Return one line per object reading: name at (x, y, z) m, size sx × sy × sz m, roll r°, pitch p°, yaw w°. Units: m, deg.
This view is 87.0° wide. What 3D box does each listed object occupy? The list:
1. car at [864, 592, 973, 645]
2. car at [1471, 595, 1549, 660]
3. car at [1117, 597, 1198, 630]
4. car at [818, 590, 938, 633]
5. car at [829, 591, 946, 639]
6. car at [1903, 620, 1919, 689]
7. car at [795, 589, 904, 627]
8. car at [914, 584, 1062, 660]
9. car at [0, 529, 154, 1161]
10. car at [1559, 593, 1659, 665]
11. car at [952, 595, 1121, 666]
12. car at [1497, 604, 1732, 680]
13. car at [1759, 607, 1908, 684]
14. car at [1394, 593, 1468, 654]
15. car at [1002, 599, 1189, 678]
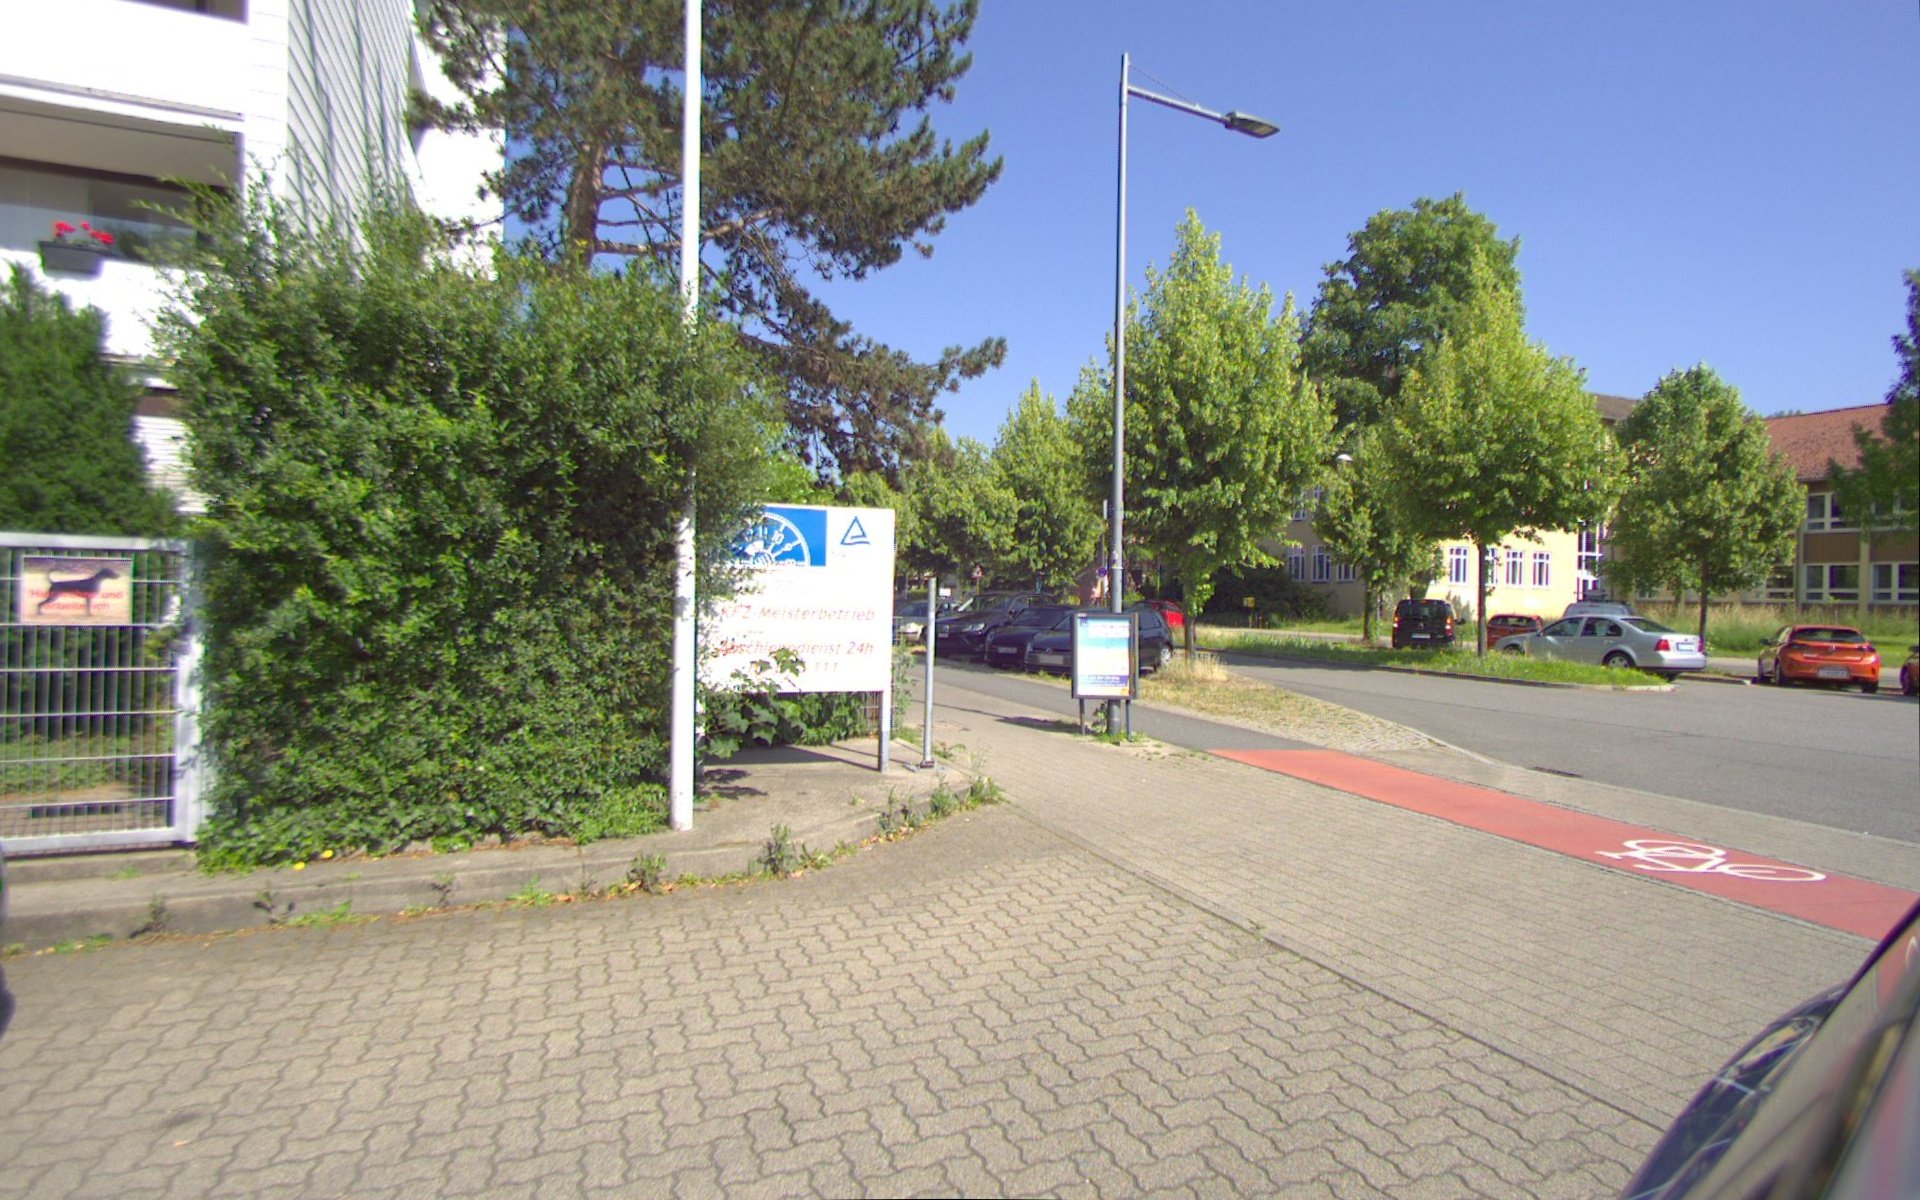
car at (-1.209, 0.531, 31.535) m, size 1.687 × 1.500 × 4.189 m, roll 1°, pitch 0°, yaw 25°
car at (16.564, 0.825, 30.529) m, size 1.865 × 1.744 × 4.182 m, roll 3°, pitch 0°, yaw 28°
car at (9.351, 0.643, 47.845) m, size 3.660 × 1.408 × 1.879 m, roll 3°, pitch 0°, yaw -41°
car at (-2.960, 0.411, 37.024) m, size 4.148 × 1.500 × 1.704 m, roll 1°, pitch 0°, yaw -38°
car at (-2.372, 0.466, 34.108) m, size 1.694 × 1.500 × 4.172 m, roll 1°, pitch 0°, yaw 35°
car at (20.838, 1.167, 20.485) m, size 1.728 × 1.478 × 4.177 m, roll 2°, pitch -1°, yaw 32°
car at (-4.577, 0.336, 41.971) m, size 4.139 × 1.500 × 1.707 m, roll 1°, pitch 0°, yaw -27°
car at (0.820, 0.553, 26.164) m, size 1.694 × 1.742 × 4.346 m, roll 2°, pitch 0°, yaw 35°
car at (-4.219, 0.653, 2.126) m, size 3.585 × 1.637 × 1.696 m, roll -1°, pitch 1°, yaw -20°
car at (17.888, 0.784, 27.823) m, size 1.872 × 1.744 × 4.166 m, roll 3°, pitch 0°, yaw 38°
car at (1.905, 0.720, 24.121) m, size 1.874 × 1.500 × 4.162 m, roll 2°, pitch -1°, yaw 41°
car at (14.545, 0.880, 22.770) m, size 1.704 × 1.502 × 4.168 m, roll 2°, pitch 0°, yaw -23°
car at (19.725, 0.989, 23.043) m, size 1.867 × 1.478 × 4.177 m, roll 3°, pitch 0°, yaw 32°
car at (15.138, 0.754, 32.414) m, size 1.865 × 1.744 × 4.182 m, roll 3°, pitch 0°, yaw 28°
car at (2.930, 0.788, 21.212) m, size 1.874 × 1.435 × 4.162 m, roll 2°, pitch -1°, yaw 41°
